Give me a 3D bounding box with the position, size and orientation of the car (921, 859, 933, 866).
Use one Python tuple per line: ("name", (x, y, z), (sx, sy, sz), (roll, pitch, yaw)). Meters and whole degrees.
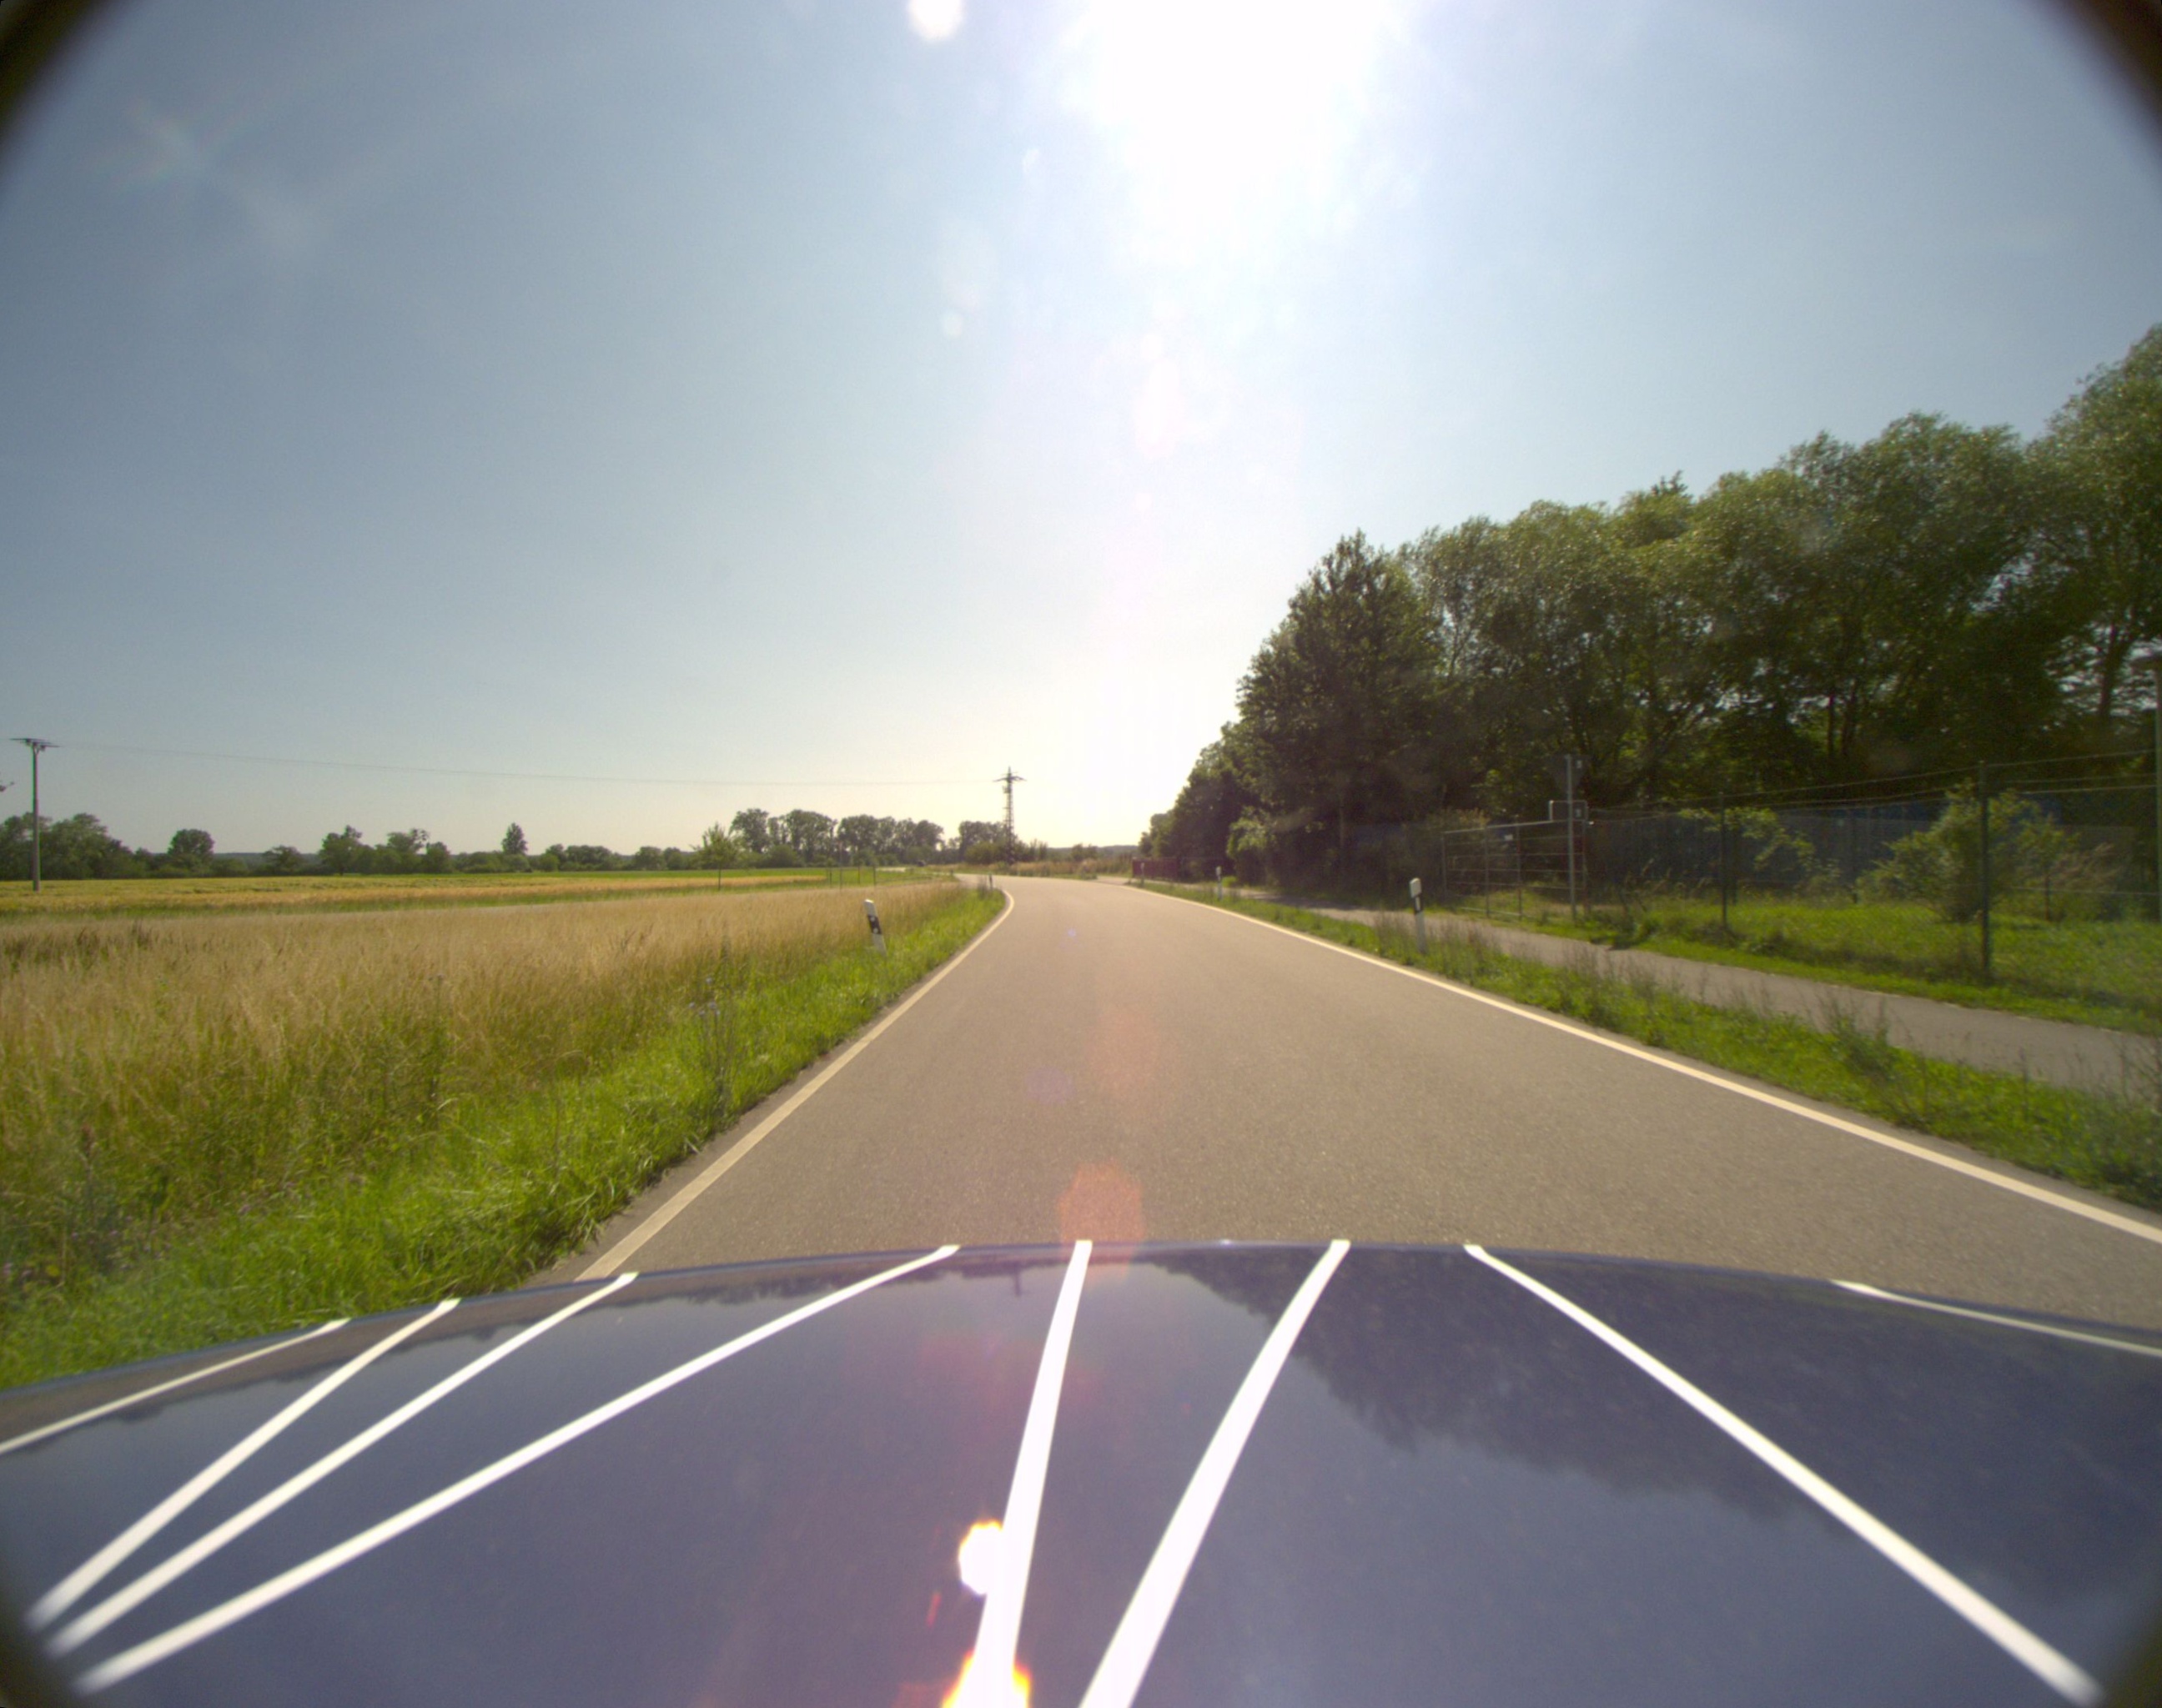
("car", (-39.118, 2.182, 192.967), (1.870, 1.742, 4.297), (0, 0, 2))
